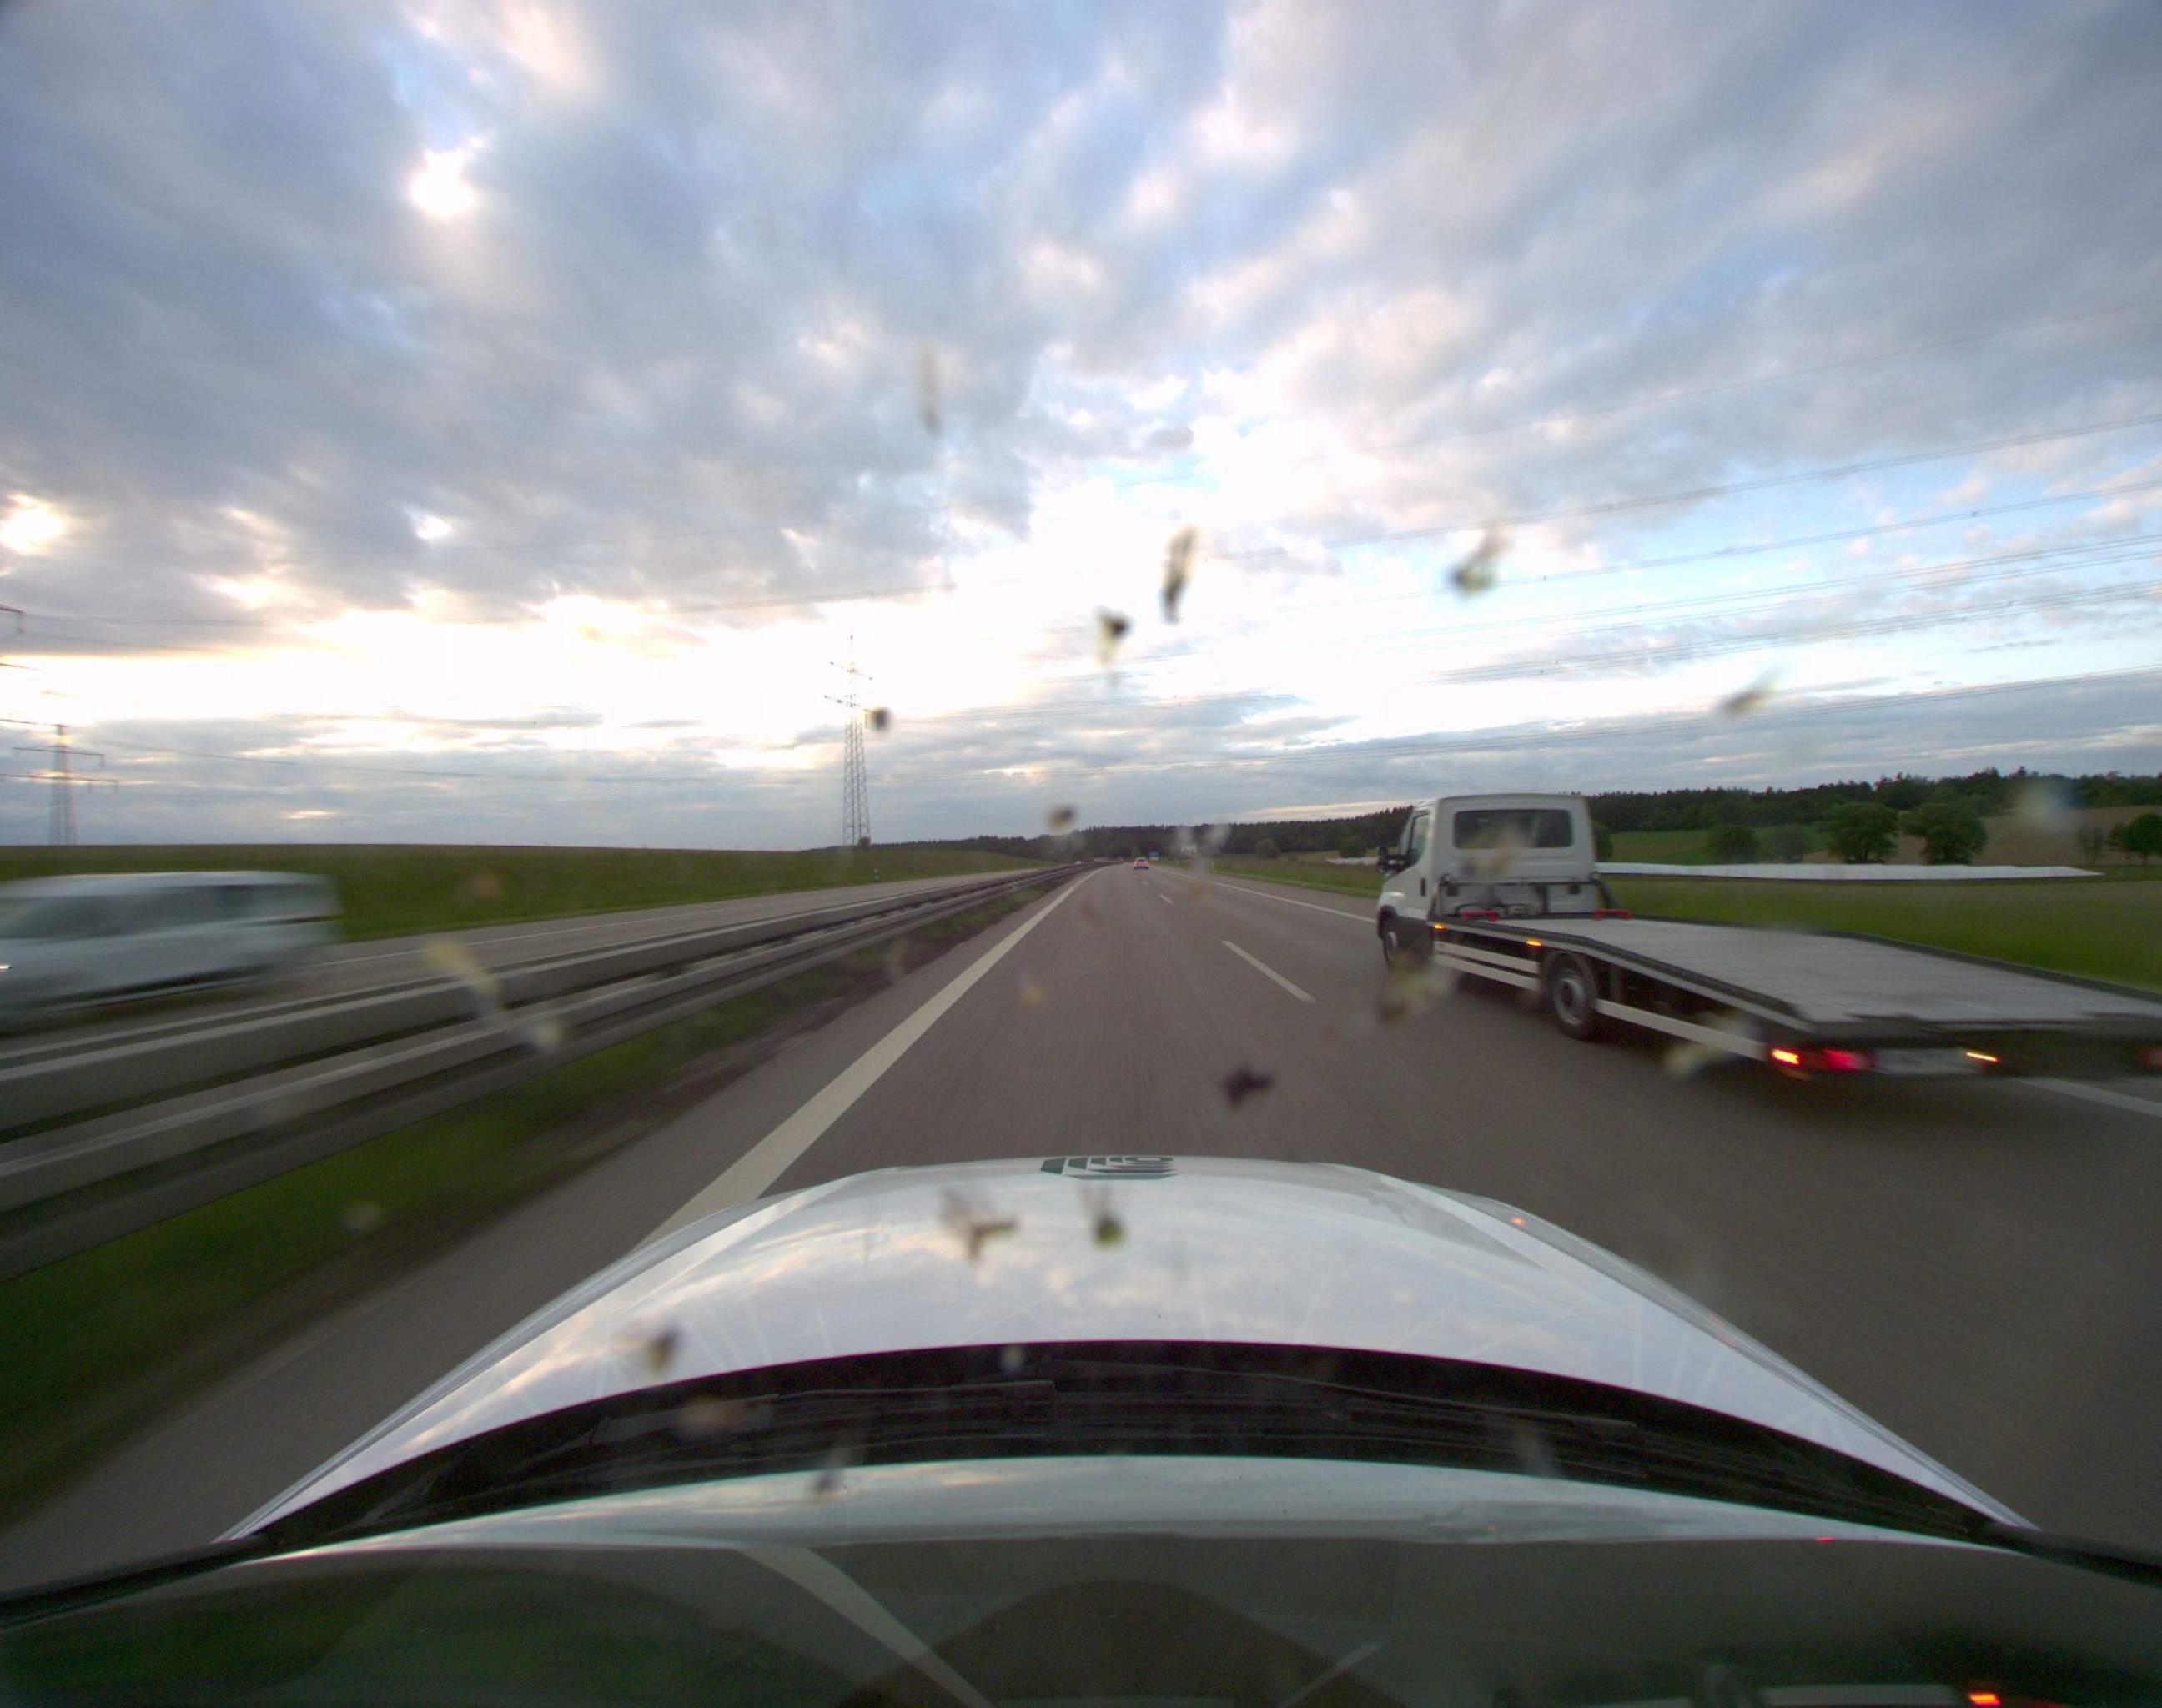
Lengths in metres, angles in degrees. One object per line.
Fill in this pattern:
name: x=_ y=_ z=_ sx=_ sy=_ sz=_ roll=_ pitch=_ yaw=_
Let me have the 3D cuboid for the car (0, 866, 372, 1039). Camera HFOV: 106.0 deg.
car: x=-12.448 y=1.120 z=10.699 sx=1.754 sy=1.802 sz=4.996 roll=-2 pitch=0 yaw=1

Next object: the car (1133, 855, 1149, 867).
car: x=7.692 y=0.888 z=104.724 sx=1.944 sy=1.531 sz=4.082 roll=0 pitch=0 yaw=2

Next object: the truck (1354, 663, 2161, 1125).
truck: x=4.929 y=0.210 z=8.021 sx=2.163 sy=2.360 sz=7.700 roll=0 pitch=0 yaw=2
